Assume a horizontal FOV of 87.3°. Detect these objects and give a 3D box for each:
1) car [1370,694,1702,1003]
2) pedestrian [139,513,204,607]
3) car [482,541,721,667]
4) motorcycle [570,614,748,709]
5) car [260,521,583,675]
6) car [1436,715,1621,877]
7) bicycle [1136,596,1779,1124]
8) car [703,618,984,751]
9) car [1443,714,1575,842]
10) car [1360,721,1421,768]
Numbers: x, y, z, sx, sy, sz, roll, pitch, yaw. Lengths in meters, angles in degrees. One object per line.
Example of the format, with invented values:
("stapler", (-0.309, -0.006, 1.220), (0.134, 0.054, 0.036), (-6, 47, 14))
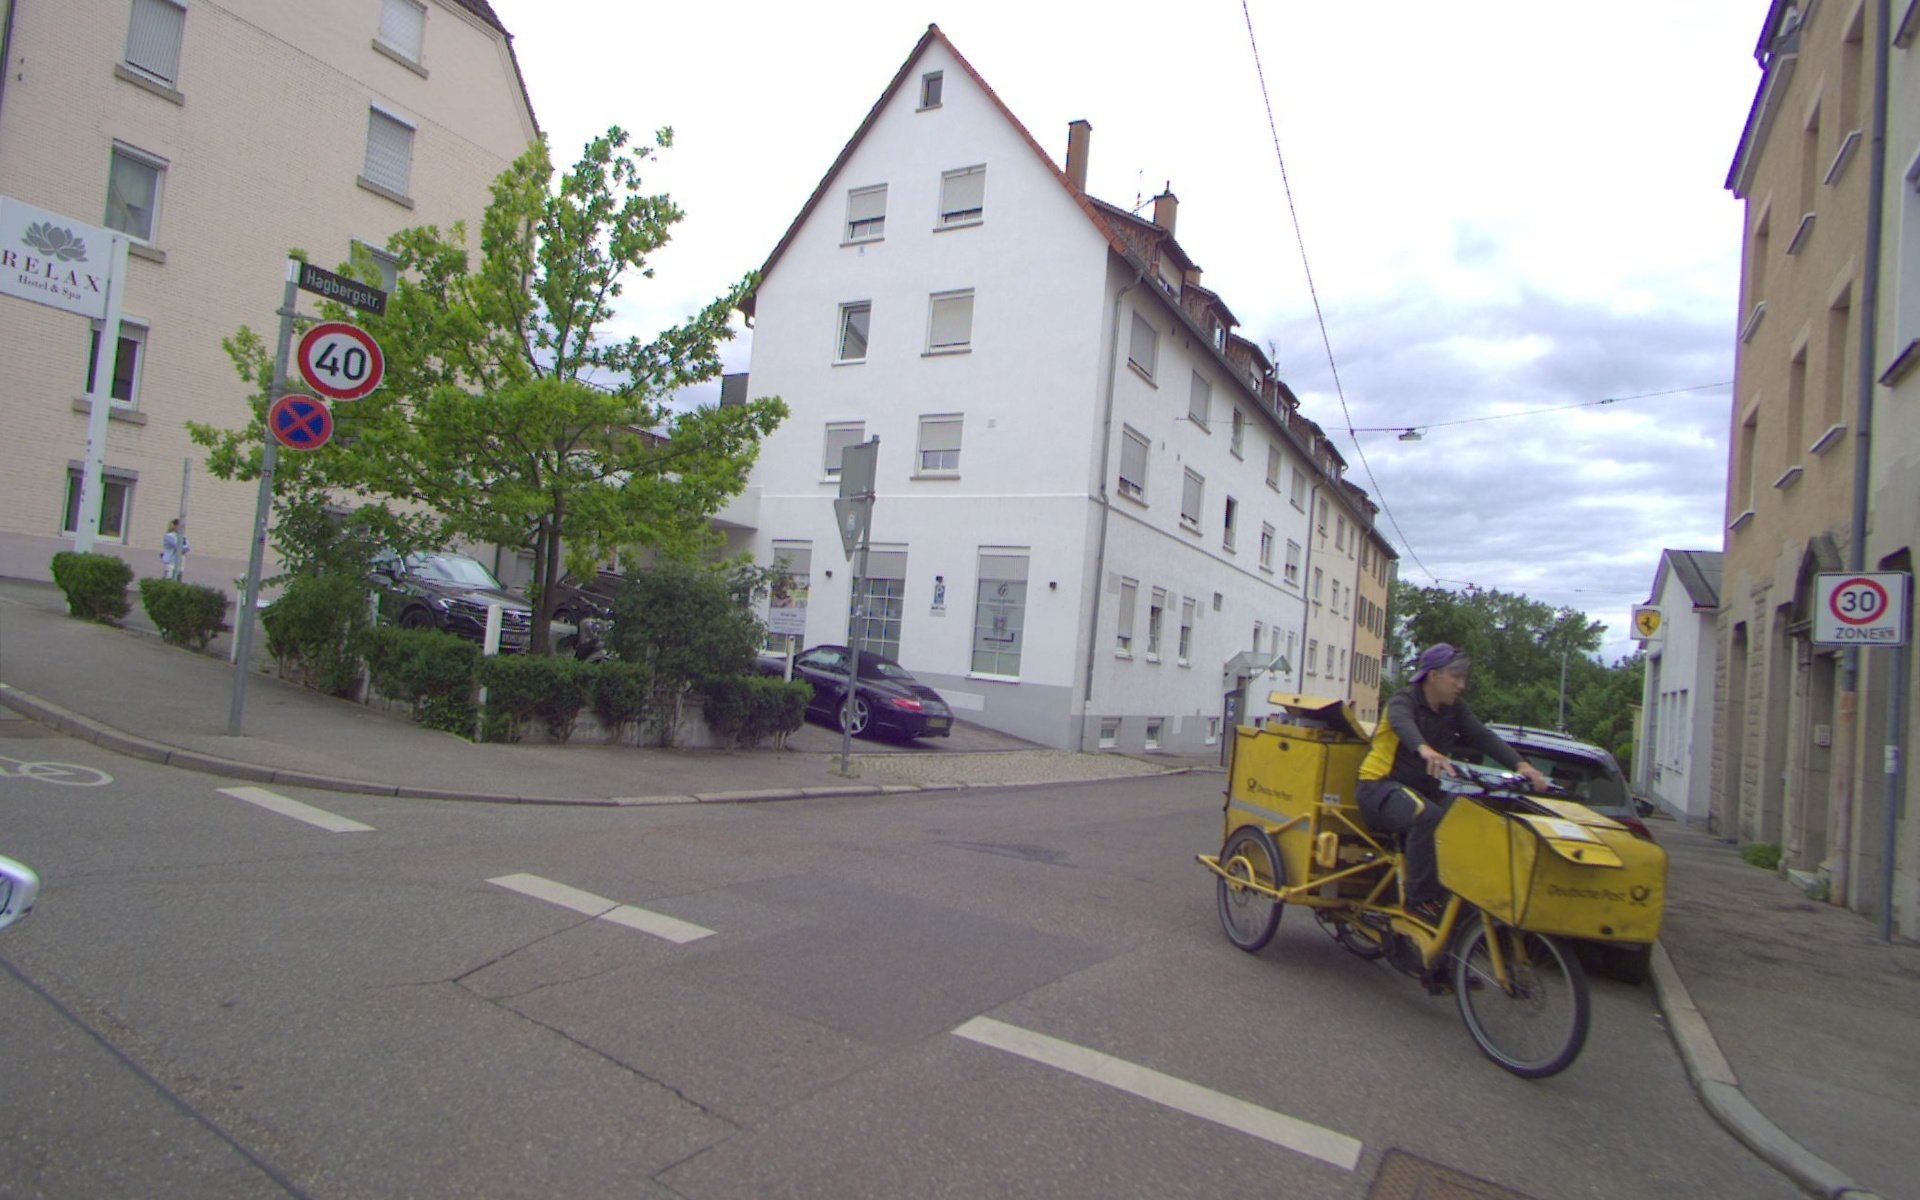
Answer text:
("car", (4.260, 1.635, 7.655), (1.553, 1.480, 3.859), (7, -3, 29))
("pedestrian", (-14.436, -0.737, 18.417), (0.674, 1.600, 0.559), (7, -1, 32))
("car", (-7.536, 0.059, 21.056), (4.624, 1.933, 1.999), (7, -2, 30))
("motorcycle", (-4.203, 0.845, 14.021), (2.345, 1.116, 0.930), (3, -4, 30))
("car", (-8.603, -0.058, 15.978), (5.008, 1.702, 1.999), (7, -2, 29))
("car", (6.781, 2.235, 12.142), (1.553, 1.404, 3.444), (7, -3, 29))
("bicycle", (2.154, 1.024, 5.066), (1.165, 1.887, 2.721), (9, -3, -17))
("car", (-1.988, 1.391, 16.890), (4.252, 1.369, 1.916), (9, -1, 30))
("car", (9.059, 2.849, 16.673), (1.553, 1.599, 3.987), (7, -3, 29))
("car", (17.440, 5.805, 40.683), (1.793, 1.480, 3.859), (7, -3, 28))
